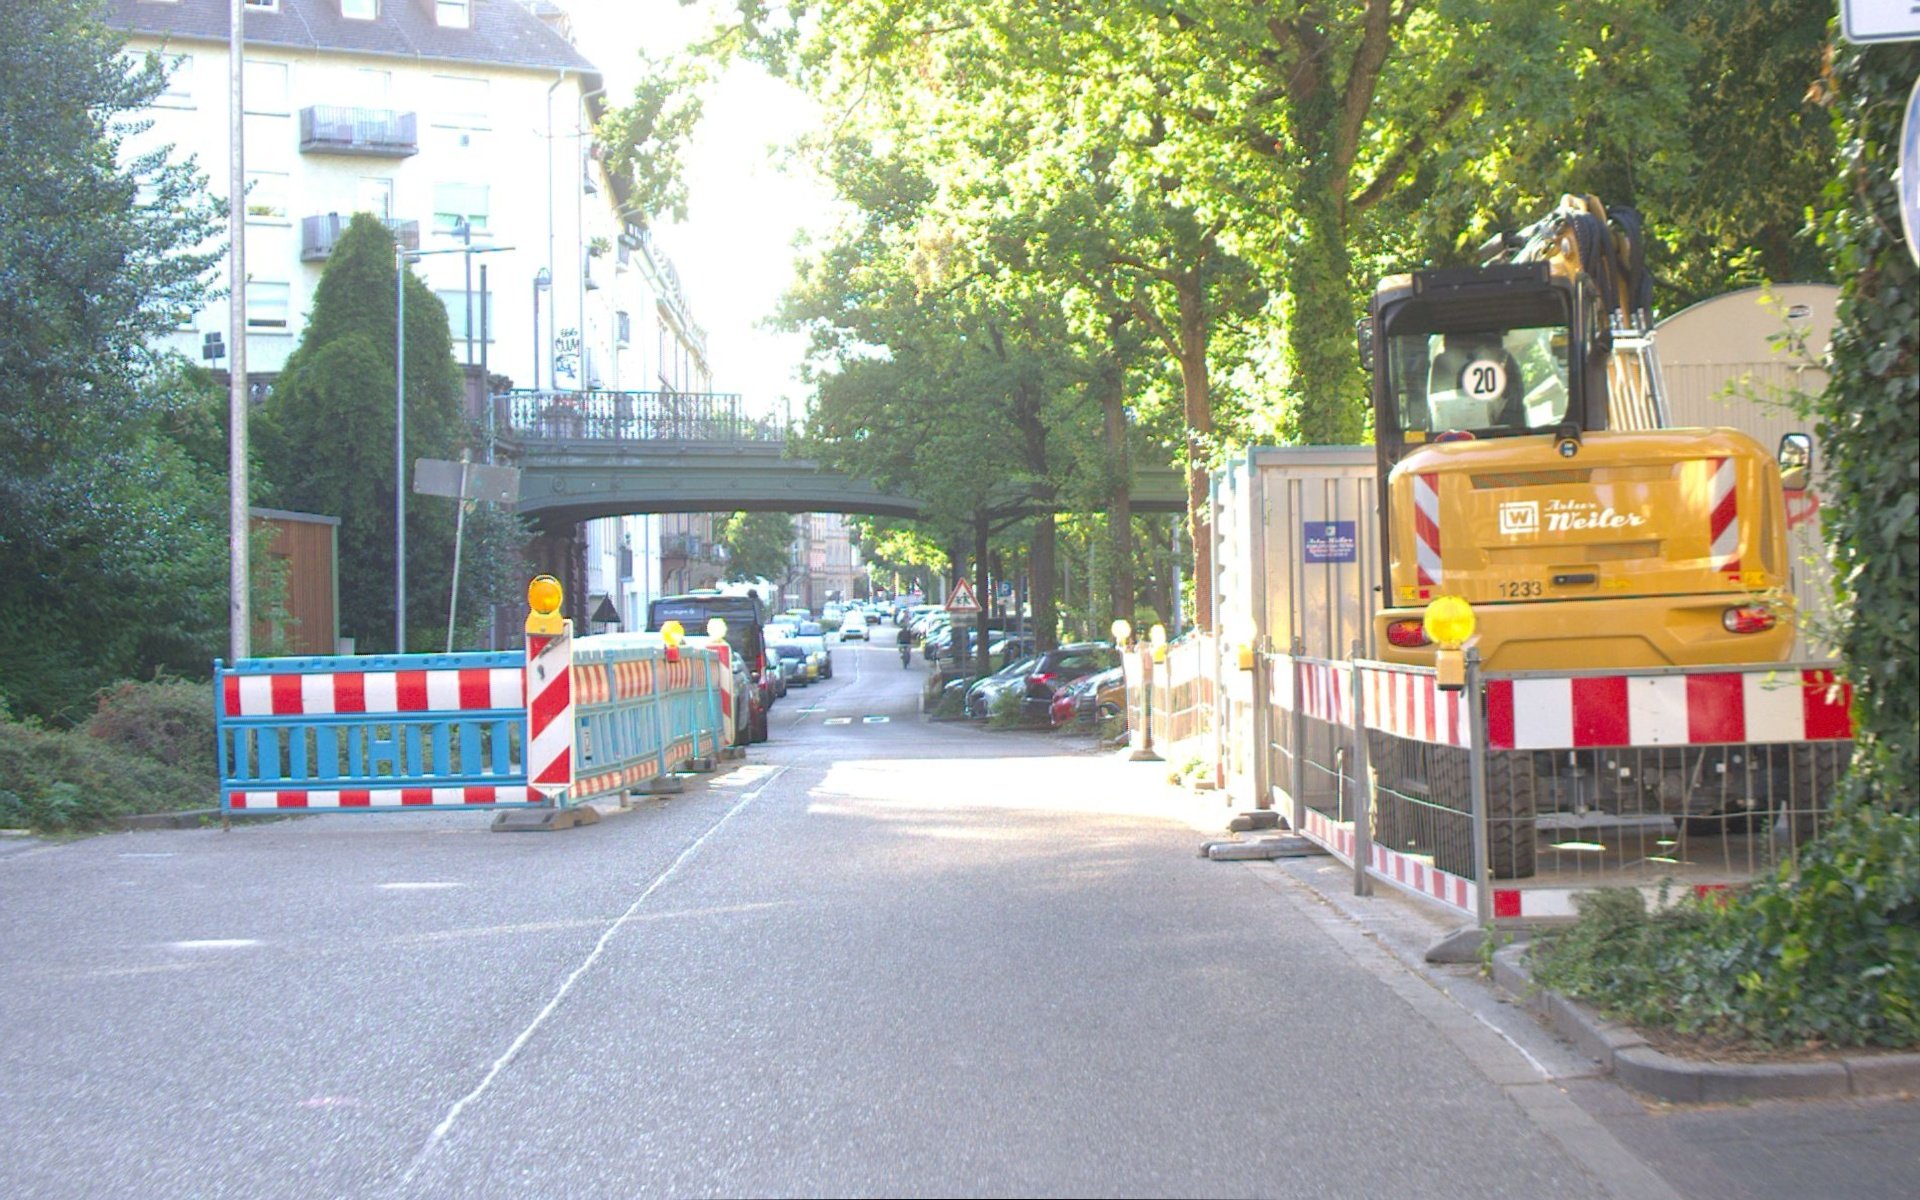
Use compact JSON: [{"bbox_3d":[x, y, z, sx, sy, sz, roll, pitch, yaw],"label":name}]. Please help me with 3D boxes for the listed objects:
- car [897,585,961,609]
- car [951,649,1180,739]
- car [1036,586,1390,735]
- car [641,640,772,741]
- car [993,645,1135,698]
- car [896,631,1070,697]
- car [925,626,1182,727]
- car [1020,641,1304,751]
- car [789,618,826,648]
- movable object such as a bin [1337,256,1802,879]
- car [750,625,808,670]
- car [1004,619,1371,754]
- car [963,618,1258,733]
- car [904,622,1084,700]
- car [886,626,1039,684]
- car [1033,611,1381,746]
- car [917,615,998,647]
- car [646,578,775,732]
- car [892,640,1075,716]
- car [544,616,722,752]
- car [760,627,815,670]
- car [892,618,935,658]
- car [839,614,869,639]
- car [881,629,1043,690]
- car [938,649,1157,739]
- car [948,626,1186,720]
[{"bbox_3d":[-2.174,-0.210,239.345,4.387,1.604,1.781,1,-2,0],"label":"car"},{"bbox_3d":[2.073,1.885,68.343,4.387,1.696,1.917,1,-2,-3],"label":"car"},{"bbox_3d":[3.532,0.878,48.519,4.741,1.990,1.917,1,-2,-4],"label":"car"},{"bbox_3d":[-3.934,1.421,53.904,1.812,1.448,4.350,-2,-2,-2],"label":"car"},{"bbox_3d":[3.276,2.264,108.403,4.387,1.604,1.781,1,-2,0],"label":"car"},{"bbox_3d":[0.573,1.659,88.914,4.387,1.604,1.781,1,-2,-3],"label":"car"},{"bbox_3d":[1.628,1.367,60.759,4.387,1.696,1.917,1,-2,-3],"label":"car"},{"bbox_3d":[3.239,1.563,55.629,4.387,1.696,1.917,1,-2,-3],"label":"car"},{"bbox_3d":[-7.785,1.682,175.695,1.812,1.393,3.975,-2,-2,-2],"label":"car"},{"bbox_3d":[2.998,-0.150,16.583,1.995,2.690,3.108,0,0,13],"label":"movable object such as a bin"},{"bbox_3d":[-6.062,1.609,115.717,1.812,1.393,3.975,-2,-2,-2],"label":"car"},{"bbox_3d":[2.835,1.109,43.437,4.386,1.601,1.917,1,-2,-4],"label":"car"},{"bbox_3d":[2.303,1.193,53.384,4.387,1.696,1.917,1,-2,-3],"label":"car"},{"bbox_3d":[0.840,1.534,86.219,4.387,1.855,1.917,1,-2,-3],"label":"car"},{"bbox_3d":[0.049,1.620,100.677,4.387,1.604,1.781,1,-2,-3],"label":"car"},{"bbox_3d":[3.243,1.065,45.690,4.387,1.696,1.917,1,-2,-3],"label":"car"},{"bbox_3d":[-0.154,1.704,188.049,4.387,1.604,1.781,1,-2,0],"label":"car"},{"bbox_3d":[-4.227,0.988,58.920,2.047,2.489,5.697,1,-2,-3],"label":"car"},{"bbox_3d":[0.555,1.931,84.305,4.387,1.779,1.917,1,-2,-3],"label":"car"},{"bbox_3d":[-3.685,0.965,39.286,1.715,1.413,4.106,-2,-2,-2],"label":"car"},{"bbox_3d":[-6.056,1.728,121.074,1.812,1.393,3.975,-2,-2,-2],"label":"car"},{"bbox_3d":[-1.940,1.617,144.896,1.775,1.604,4.401,0,-1,-1],"label":"car"},{"bbox_3d":[-6.644,1.686,216.101,1.812,1.393,3.975,-2,-2,-2],"label":"car"},{"bbox_3d":[0.046,1.651,95.232,4.387,1.604,1.781,1,-2,-3],"label":"car"},{"bbox_3d":[1.780,1.962,71.310,4.387,1.779,1.917,1,-2,-3],"label":"car"},{"bbox_3d":[2.021,1.407,65.740,4.387,1.696,1.917,1,-2,-3],"label":"car"}]
